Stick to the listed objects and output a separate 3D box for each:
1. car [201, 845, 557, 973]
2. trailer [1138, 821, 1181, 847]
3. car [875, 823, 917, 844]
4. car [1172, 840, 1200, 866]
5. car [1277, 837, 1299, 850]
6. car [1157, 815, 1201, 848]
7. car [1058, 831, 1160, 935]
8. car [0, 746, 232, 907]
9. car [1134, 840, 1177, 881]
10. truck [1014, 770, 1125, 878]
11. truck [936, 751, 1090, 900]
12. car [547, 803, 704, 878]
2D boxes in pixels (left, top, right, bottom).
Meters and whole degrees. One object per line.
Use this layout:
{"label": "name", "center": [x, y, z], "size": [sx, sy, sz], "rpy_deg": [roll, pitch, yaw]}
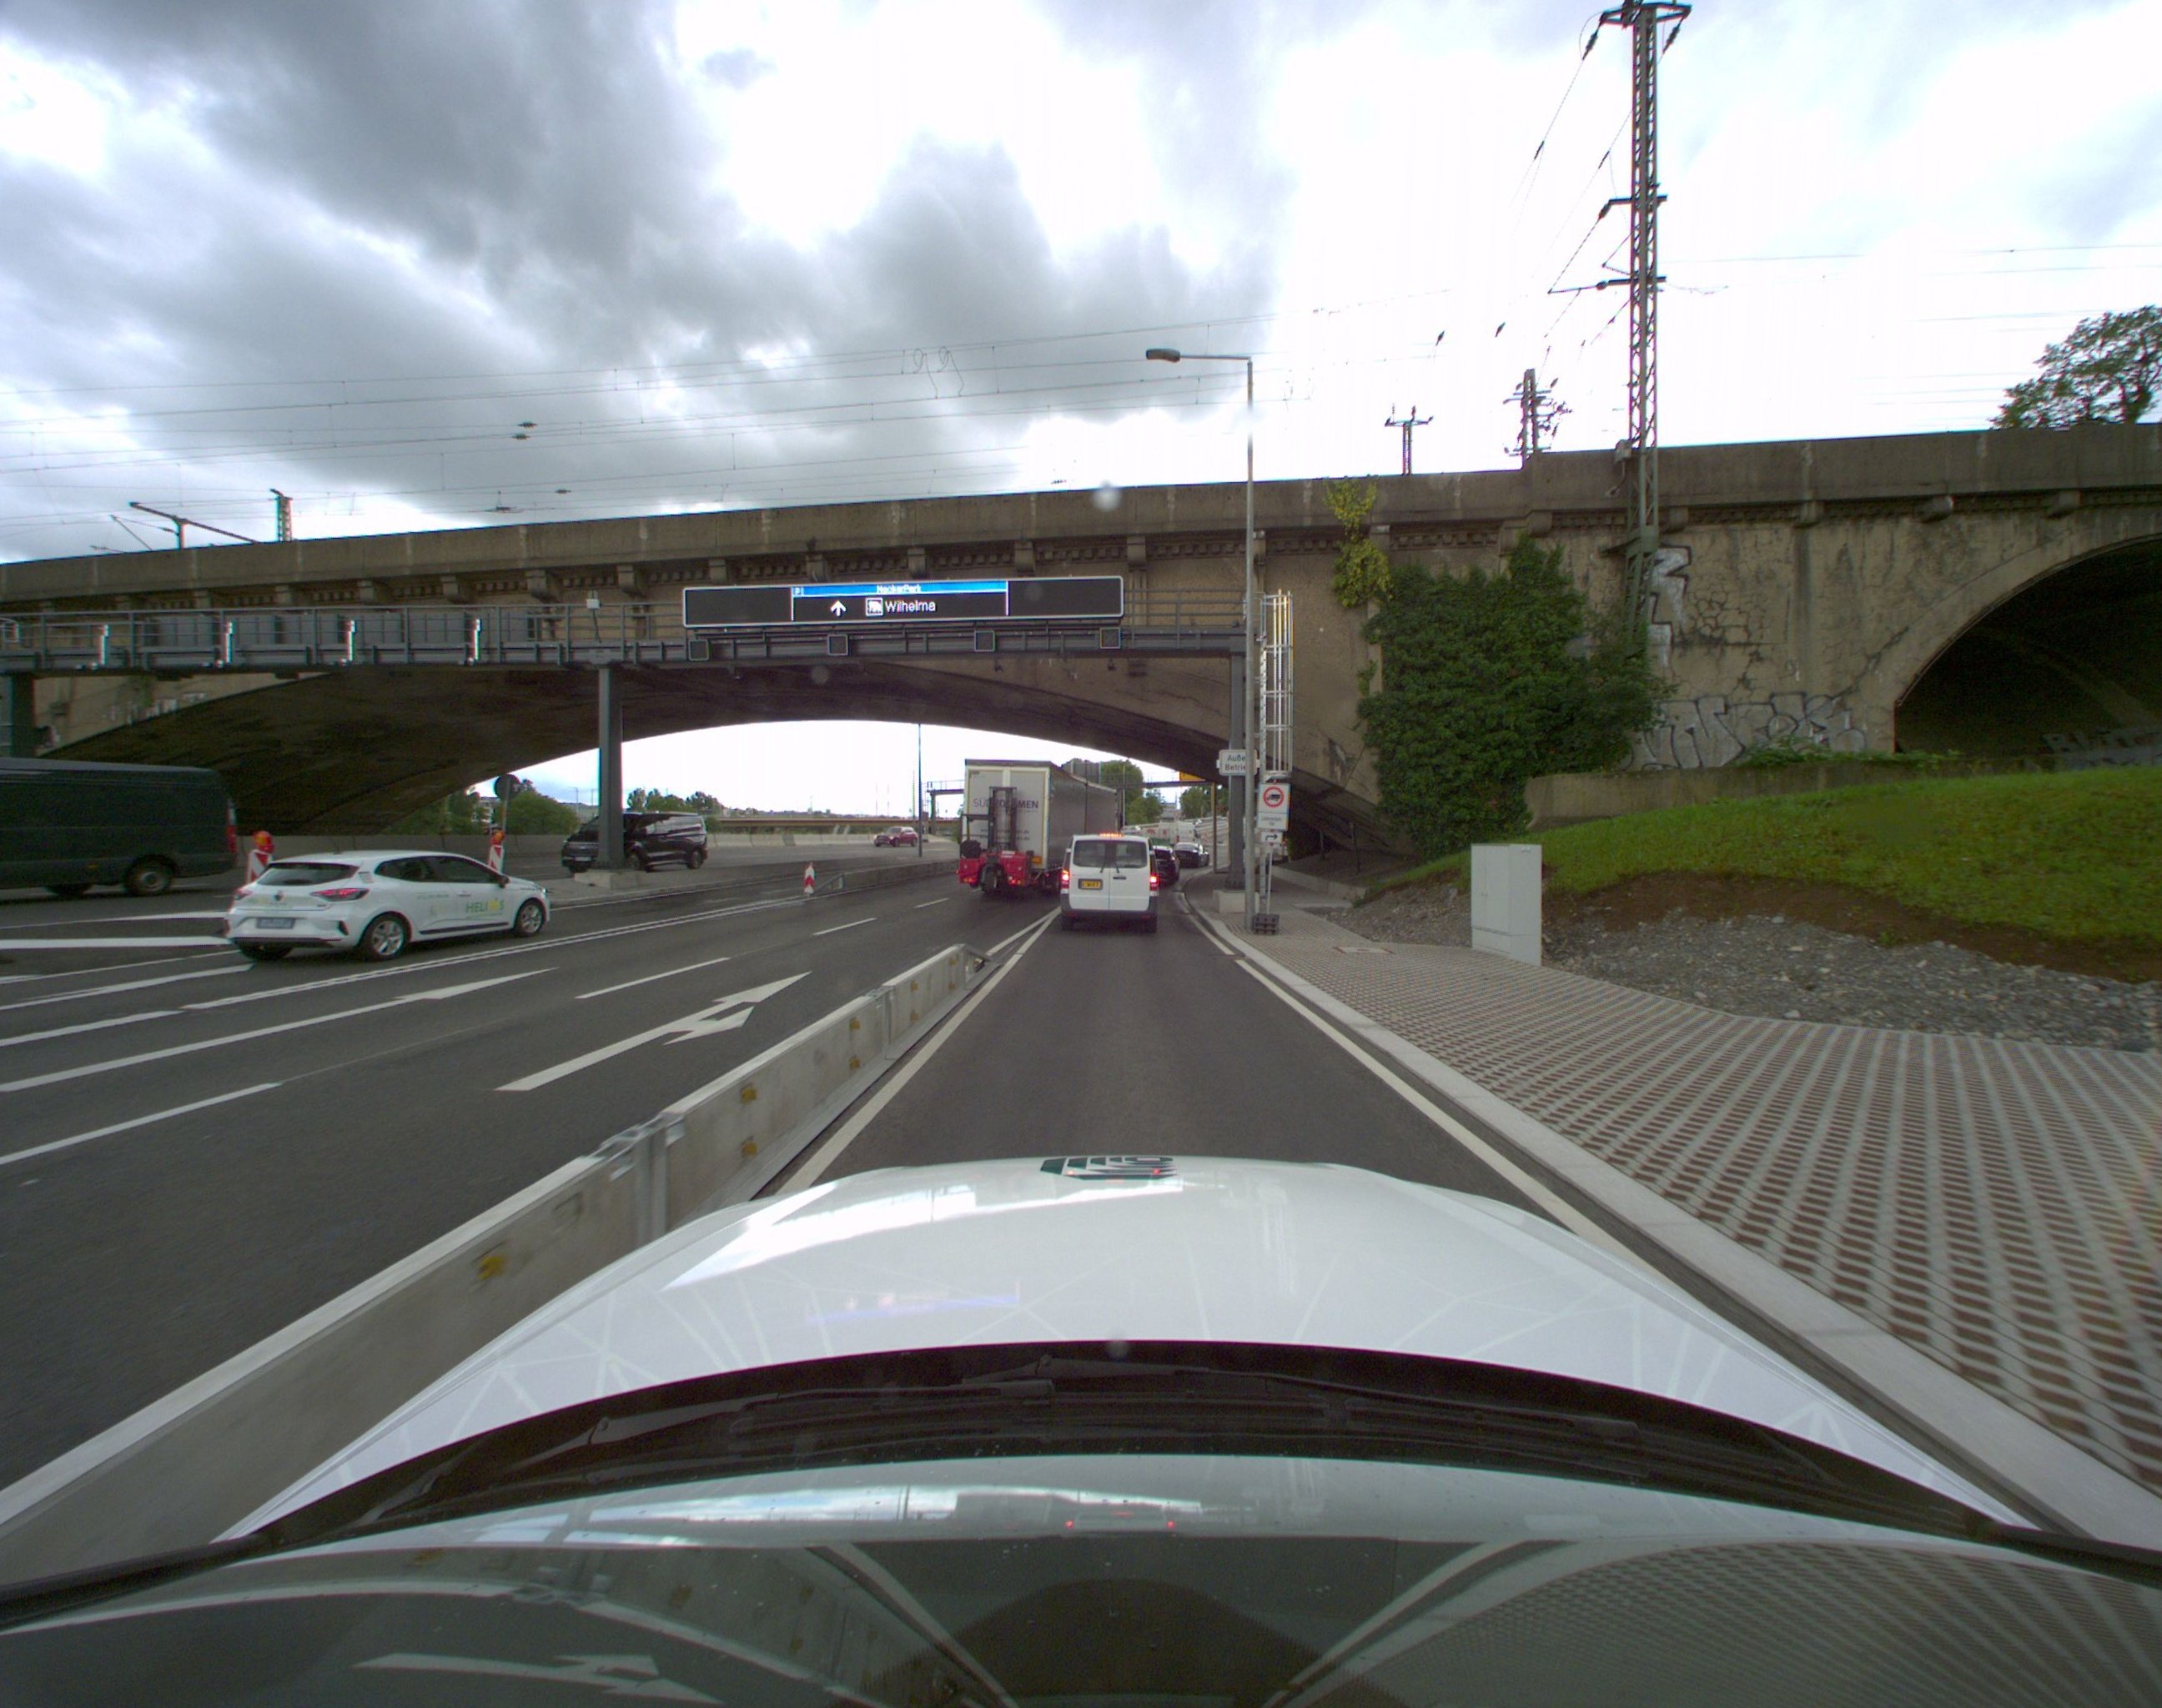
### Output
{"label": "car", "center": [-9.760, 0.641, 11.830], "size": [1.569, 1.484, 4.001], "rpy_deg": [1, 1, 3]}
{"label": "trailer", "center": [6.186, -1.567, 63.846], "size": [1.975, 1.957, 4.103], "rpy_deg": [3, 3, 26]}
{"label": "car", "center": [-15.110, -1.686, 66.789], "size": [1.686, 1.616, 4.012], "rpy_deg": [2, 2, 14]}
{"label": "car", "center": [6.340, -0.079, 48.914], "size": [1.491, 1.468, 3.409], "rpy_deg": [0, 1, 11]}
{"label": "car", "center": [24.125, -1.253, 94.995], "size": [1.359, 1.376, 3.484], "rpy_deg": [0, 2, 34]}
{"label": "car", "center": [8.226, -1.884, 68.007], "size": [1.975, 2.541, 5.205], "rpy_deg": [3, 3, 26]}
{"label": "car", "center": [0.665, 0.512, 17.315], "size": [1.868, 1.891, 4.758], "rpy_deg": [0, 0, 4]}
{"label": "car", "center": [-19.630, -0.492, 14.486], "size": [2.204, 2.776, 6.155], "rpy_deg": [0, 1, 6]}
{"label": "car", "center": [3.321, 0.238, 35.935], "size": [1.740, 1.625, 3.853], "rpy_deg": [-1, 2, 7]}
{"label": "truck", "center": [-0.168, -1.376, 37.267], "size": [2.969, 4.175, 11.275], "rpy_deg": [1, 2, 10]}
{"label": "truck", "center": [-1.818, -0.968, 27.147], "size": [2.901, 4.016, 10.226], "rpy_deg": [1, 2, 8]}
{"label": "car", "center": [-14.829, -0.566, 26.952], "size": [1.953, 2.012, 5.199], "rpy_deg": [3, 5, 4]}
